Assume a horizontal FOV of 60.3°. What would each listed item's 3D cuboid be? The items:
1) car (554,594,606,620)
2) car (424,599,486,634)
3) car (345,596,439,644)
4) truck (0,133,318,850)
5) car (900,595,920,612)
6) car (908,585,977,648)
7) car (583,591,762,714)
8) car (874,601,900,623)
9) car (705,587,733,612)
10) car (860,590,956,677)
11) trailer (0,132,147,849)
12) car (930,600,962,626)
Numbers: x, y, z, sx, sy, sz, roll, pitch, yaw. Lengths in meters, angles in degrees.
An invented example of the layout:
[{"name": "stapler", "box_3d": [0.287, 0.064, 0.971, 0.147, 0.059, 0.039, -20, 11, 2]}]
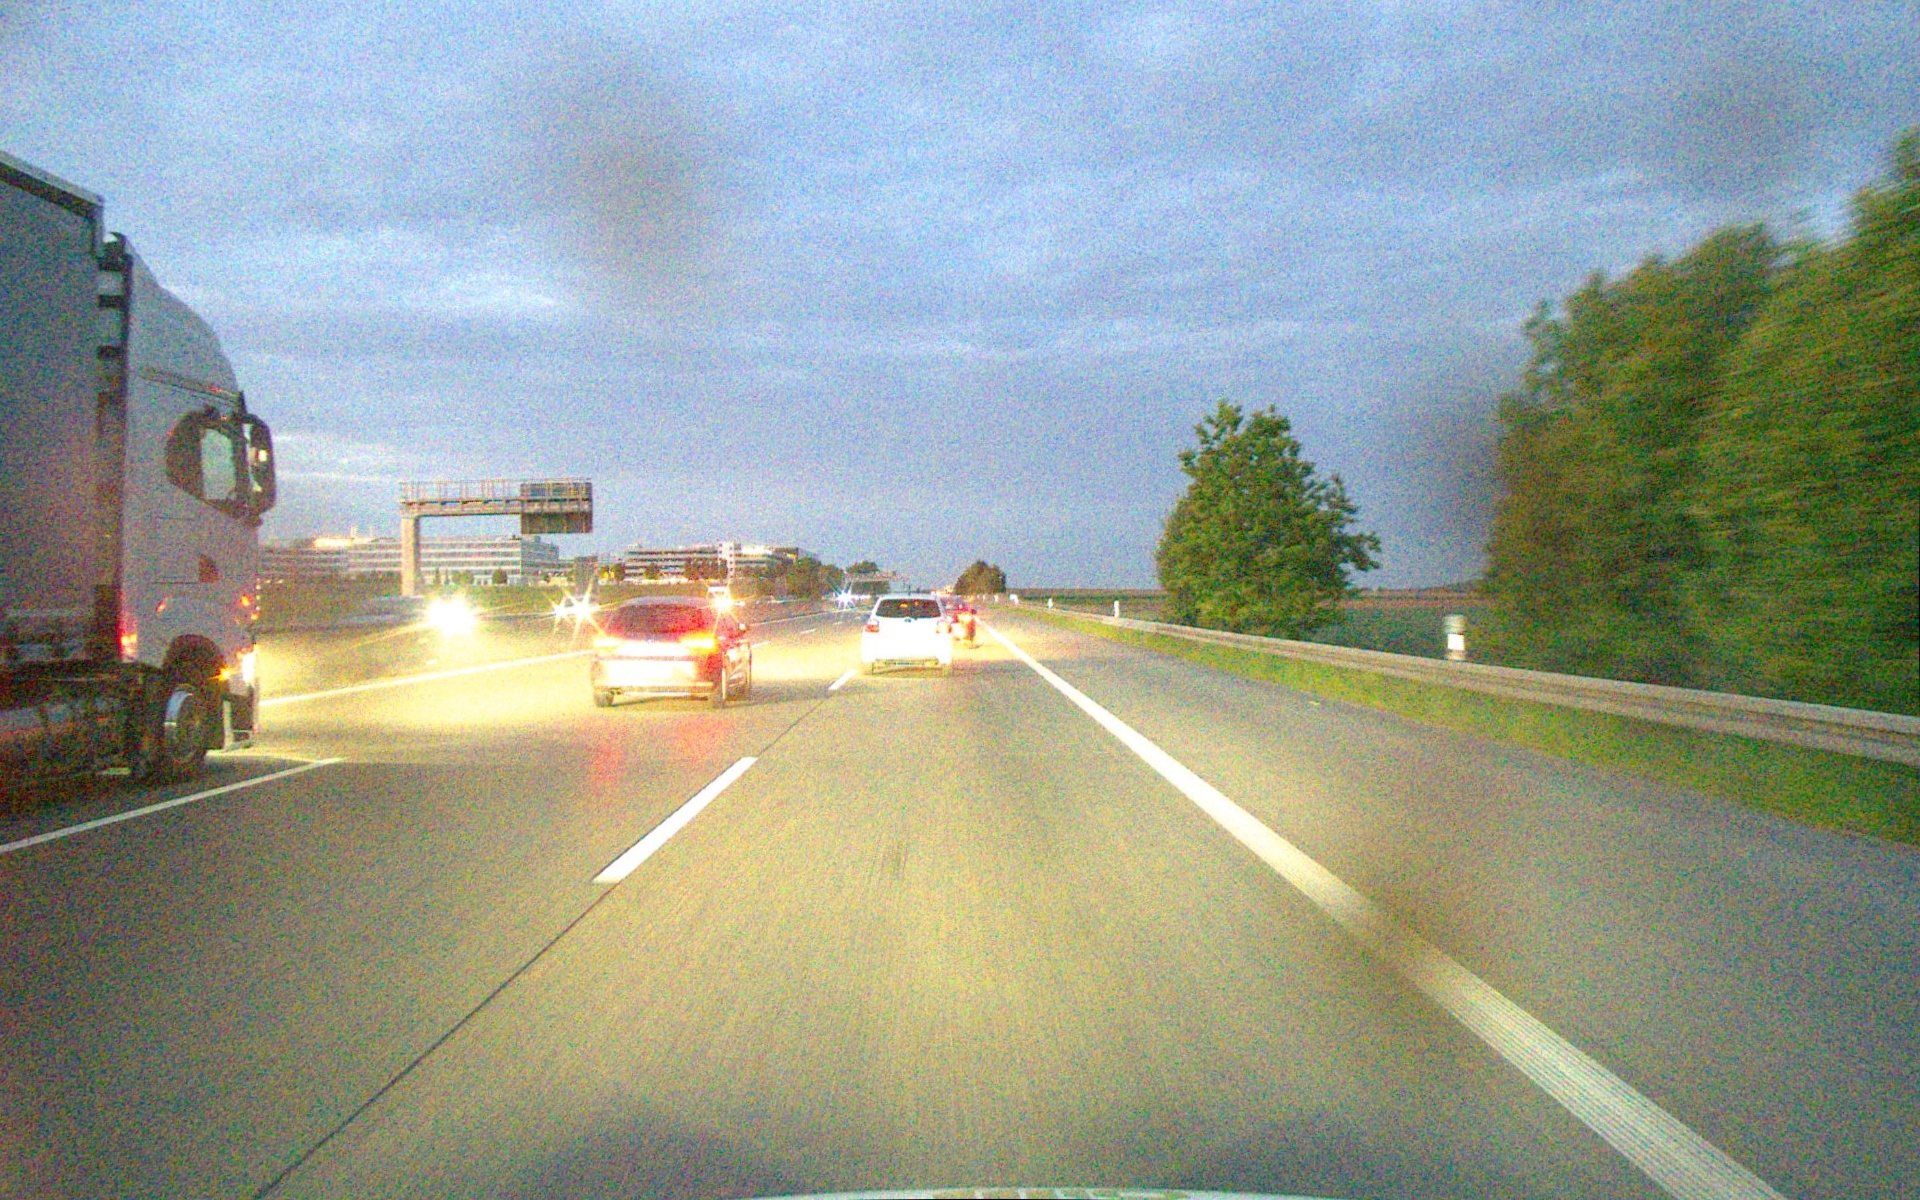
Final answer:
[{"name": "car", "box_3d": [-23.749, 0.455, 103.485, 1.953, 1.548, 5.835, 1, 0, -1]}, {"name": "car", "box_3d": [-19.329, 0.613, 63.437, 1.336, 1.283, 3.506, 1, 0, -1]}, {"name": "car", "box_3d": [-15.694, 0.555, 45.815, 1.418, 1.254, 3.506, 1, 0, -1]}, {"name": "truck", "box_3d": [-6.927, -0.614, 11.253, 2.721, 4.164, 6.102, 0, -1, 0]}, {"name": "car", "box_3d": [-5.696, 0.431, 187.449, 2.154, 1.912, 3.999, 1, 0, -1]}, {"name": "car", "box_3d": [-0.502, 0.464, 47.123, 1.842, 1.672, 3.999, 1, 0, -1]}, {"name": "car", "box_3d": [-3.826, 0.668, 22.762, 1.688, 1.497, 4.725, 1, 0, -1]}, {"name": "car", "box_3d": [-5.340, 0.880, 121.566, 1.842, 1.579, 3.999, 1, 0, -1]}, {"name": "car", "box_3d": [-24.105, -0.050, 165.554, 1.953, 2.429, 5.835, 1, 0, -1]}, {"name": "car", "box_3d": [-0.951, 0.618, 32.188, 1.708, 1.551, 4.413, 1, 0, 0]}, {"name": "trailer", "box_3d": [-6.941, -0.669, 4.032, 2.737, 4.157, 14.524, 0, 0, 0]}, {"name": "car", "box_3d": [-0.887, 0.797, 101.472, 1.842, 1.579, 3.999, 1, 0, -1]}]
